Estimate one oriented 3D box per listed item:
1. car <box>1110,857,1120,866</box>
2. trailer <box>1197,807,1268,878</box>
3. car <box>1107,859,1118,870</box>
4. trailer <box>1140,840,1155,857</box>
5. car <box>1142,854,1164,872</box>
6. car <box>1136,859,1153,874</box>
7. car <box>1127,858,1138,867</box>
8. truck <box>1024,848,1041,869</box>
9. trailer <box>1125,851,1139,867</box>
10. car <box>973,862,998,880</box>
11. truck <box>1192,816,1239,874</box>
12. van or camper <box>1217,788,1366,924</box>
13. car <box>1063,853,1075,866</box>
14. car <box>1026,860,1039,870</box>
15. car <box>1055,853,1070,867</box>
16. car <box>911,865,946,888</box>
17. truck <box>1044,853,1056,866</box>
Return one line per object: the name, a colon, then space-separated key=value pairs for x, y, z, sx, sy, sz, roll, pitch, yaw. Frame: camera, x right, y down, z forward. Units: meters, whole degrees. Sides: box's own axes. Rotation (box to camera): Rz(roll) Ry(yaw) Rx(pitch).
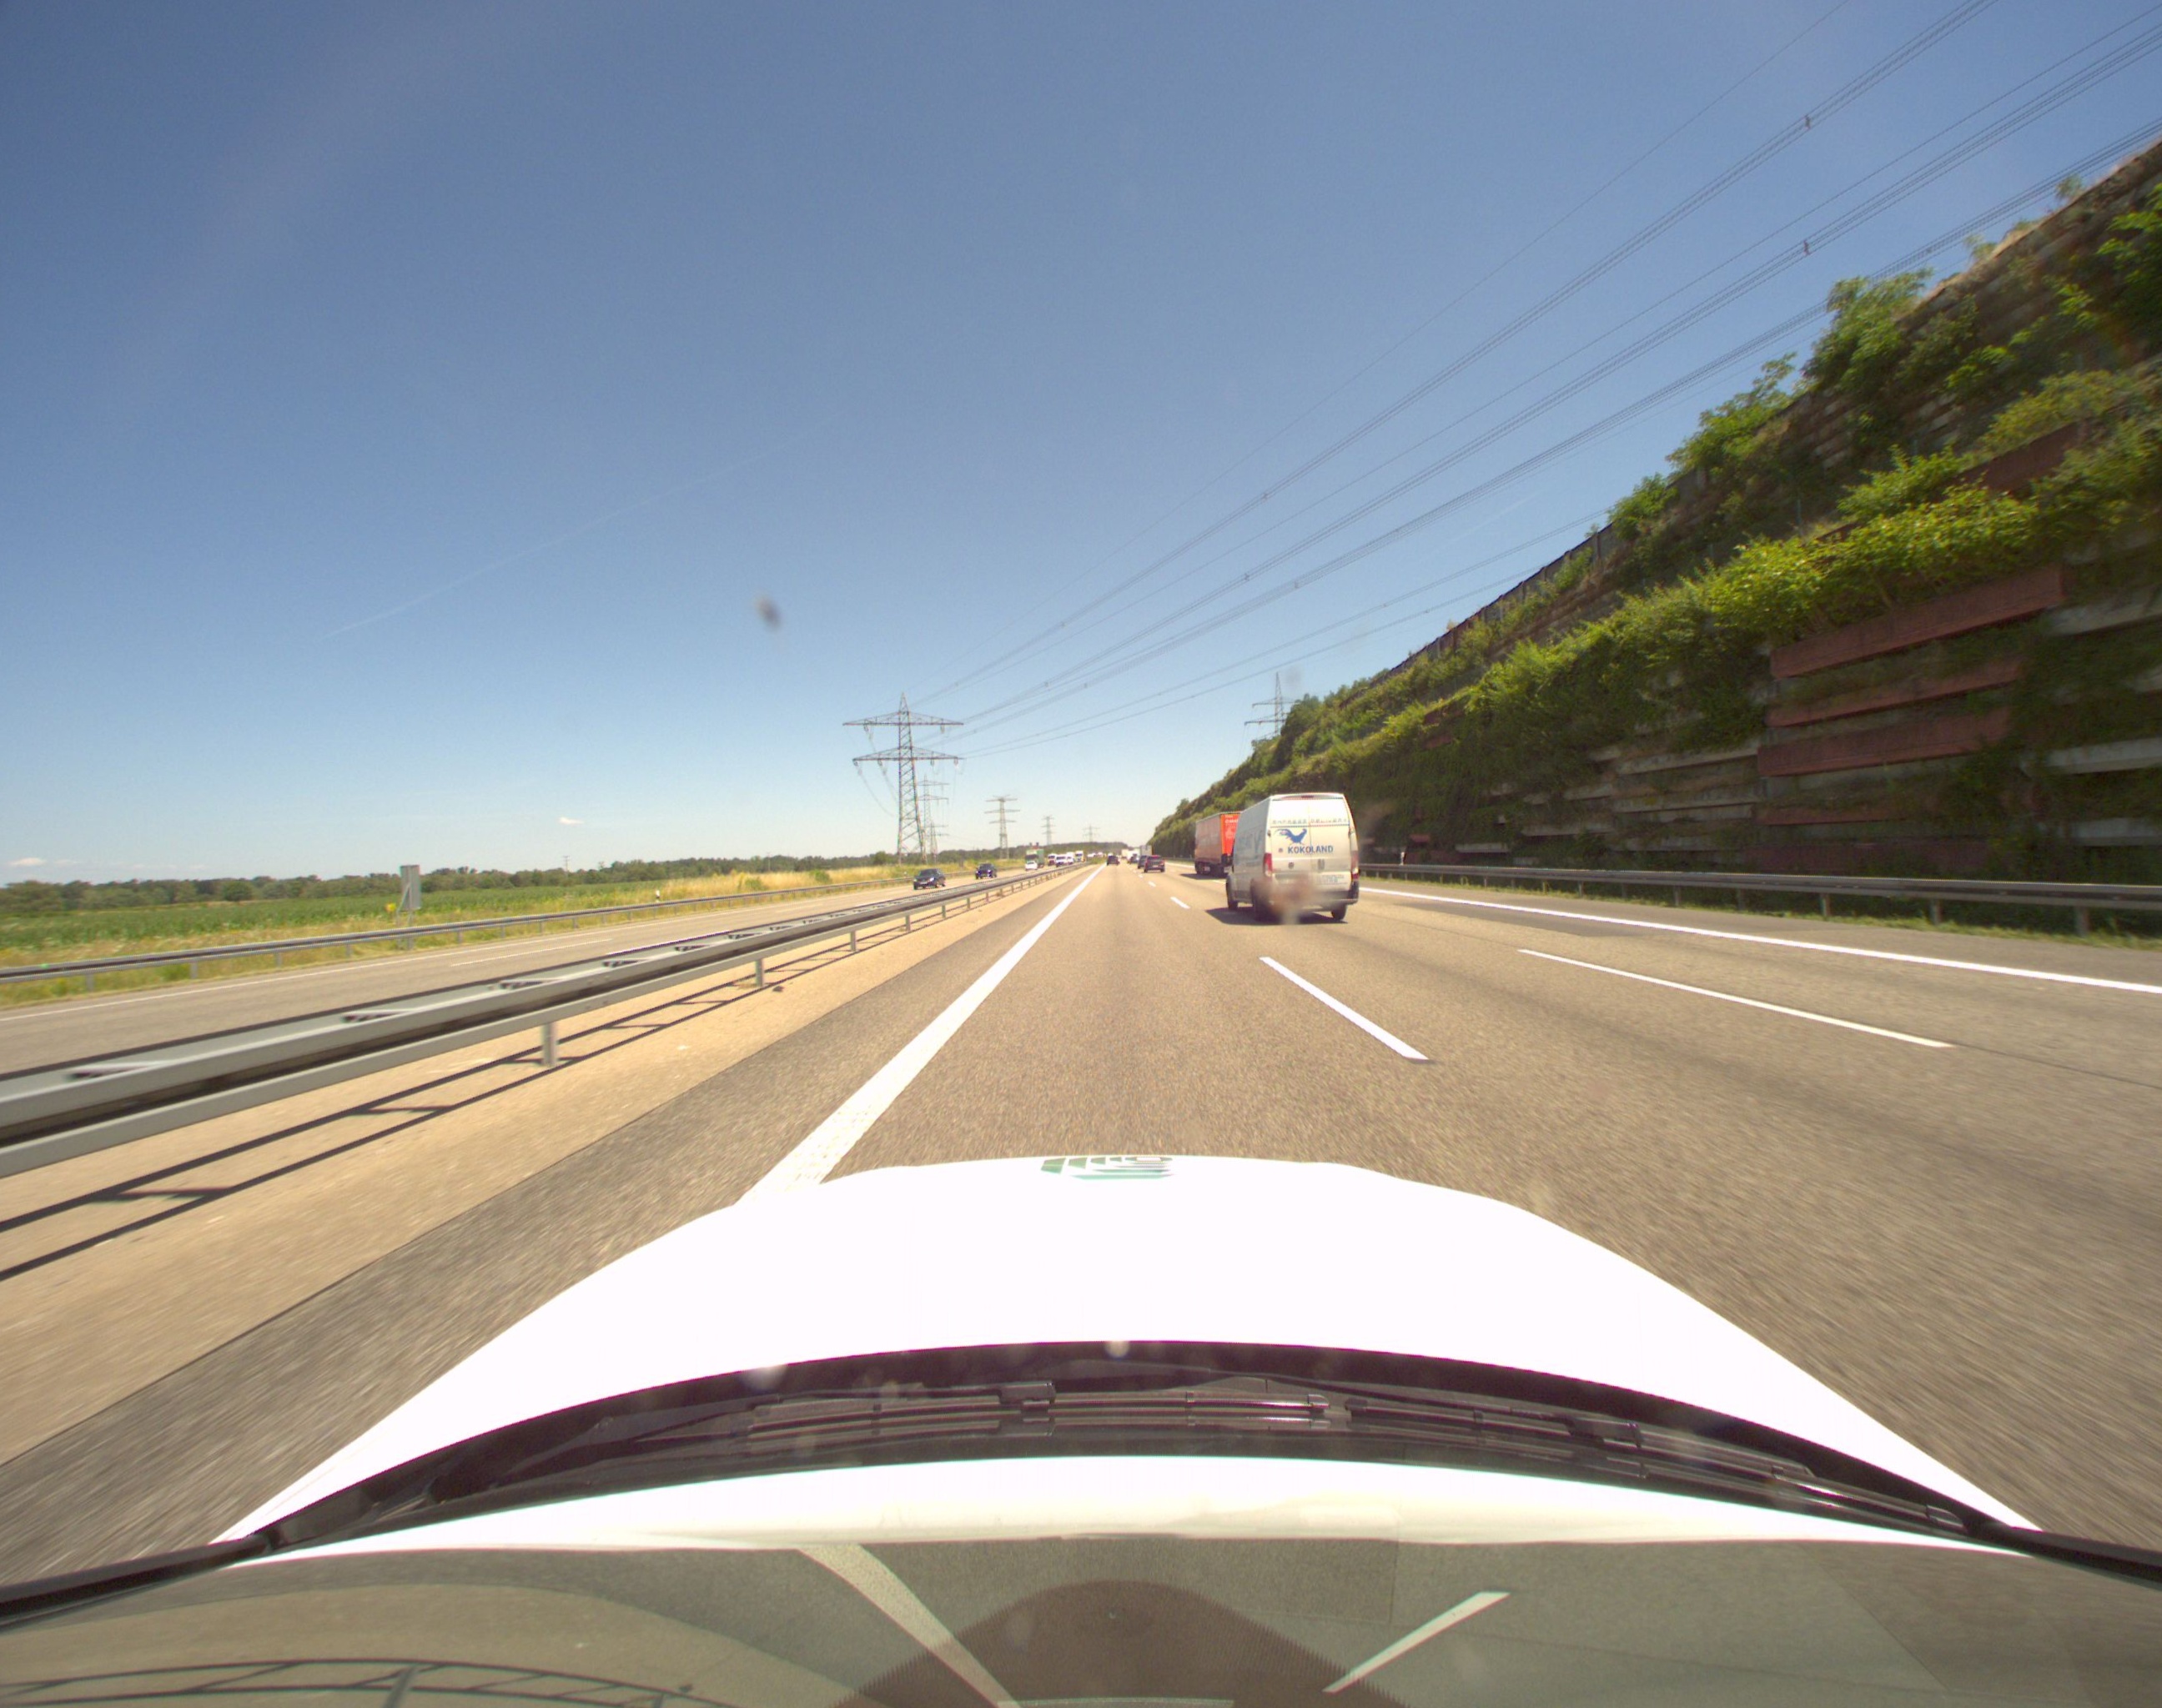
car: x=6.541 y=1.451 z=157.928 sx=1.823 sy=1.670 sz=4.002 roll=-3 pitch=0 yaw=2
trailer: x=9.677 y=-0.645 z=53.649 sx=2.634 sy=4.005 sz=13.614 roll=-2 pitch=0 yaw=2
car: x=5.420 y=1.757 z=139.608 sx=1.823 sy=1.670 sz=4.002 roll=-3 pitch=0 yaw=2
trailer: x=16.913 y=-1.262 z=208.812 sx=3.170 sy=4.121 sz=13.441 roll=-3 pitch=0 yaw=3
car: x=6.566 y=0.775 z=74.447 sx=1.742 sy=1.525 sz=3.997 roll=-3 pitch=0 yaw=2
car: x=7.483 y=1.404 z=95.843 sx=1.787 sy=1.653 sz=4.141 roll=-2 pitch=0 yaw=3
car: x=9.512 y=1.630 z=150.177 sx=1.822 sy=1.525 sz=4.004 roll=-3 pitch=0 yaw=3
truck: x=-10.272 y=0.974 z=173.295 sx=2.689 sy=4.134 sz=6.584 roll=-3 pitch=0 yaw=2
trailer: x=10.904 y=1.011 z=174.940 sx=2.600 sy=3.213 sz=9.958 roll=-3 pitch=0 yaw=2
car: x=-10.254 y=1.804 z=87.750 sx=1.834 sy=1.629 sz=4.416 roll=-5 pitch=0 yaw=2
truck: x=9.976 y=-0.636 z=60.935 sx=2.607 sy=3.992 sz=6.530 roll=-2 pitch=0 yaw=2
van or camper: x=4.946 y=0.049 z=20.345 sx=2.088 sy=2.769 sz=6.759 roll=-2 pitch=0 yaw=2
car: x=-2.546 y=1.186 z=173.073 sx=2.040 sy=2.438 sz=6.071 roll=-4 pitch=0 yaw=1
car: x=-8.215 y=1.892 z=137.716 sx=1.701 sy=1.523 sz=4.516 roll=-5 pitch=0 yaw=2
car: x=-3.328 y=1.113 z=146.669 sx=2.101 sy=2.298 sz=6.709 roll=-3 pitch=0 yaw=2
car: x=-11.238 y=1.664 z=60.423 sx=1.612 sy=1.460 sz=4.284 roll=-6 pitch=0 yaw=0
truck: x=-8.585 y=1.601 z=226.935 sx=2.473 sy=3.378 sz=6.215 roll=-3 pitch=0 yaw=3
